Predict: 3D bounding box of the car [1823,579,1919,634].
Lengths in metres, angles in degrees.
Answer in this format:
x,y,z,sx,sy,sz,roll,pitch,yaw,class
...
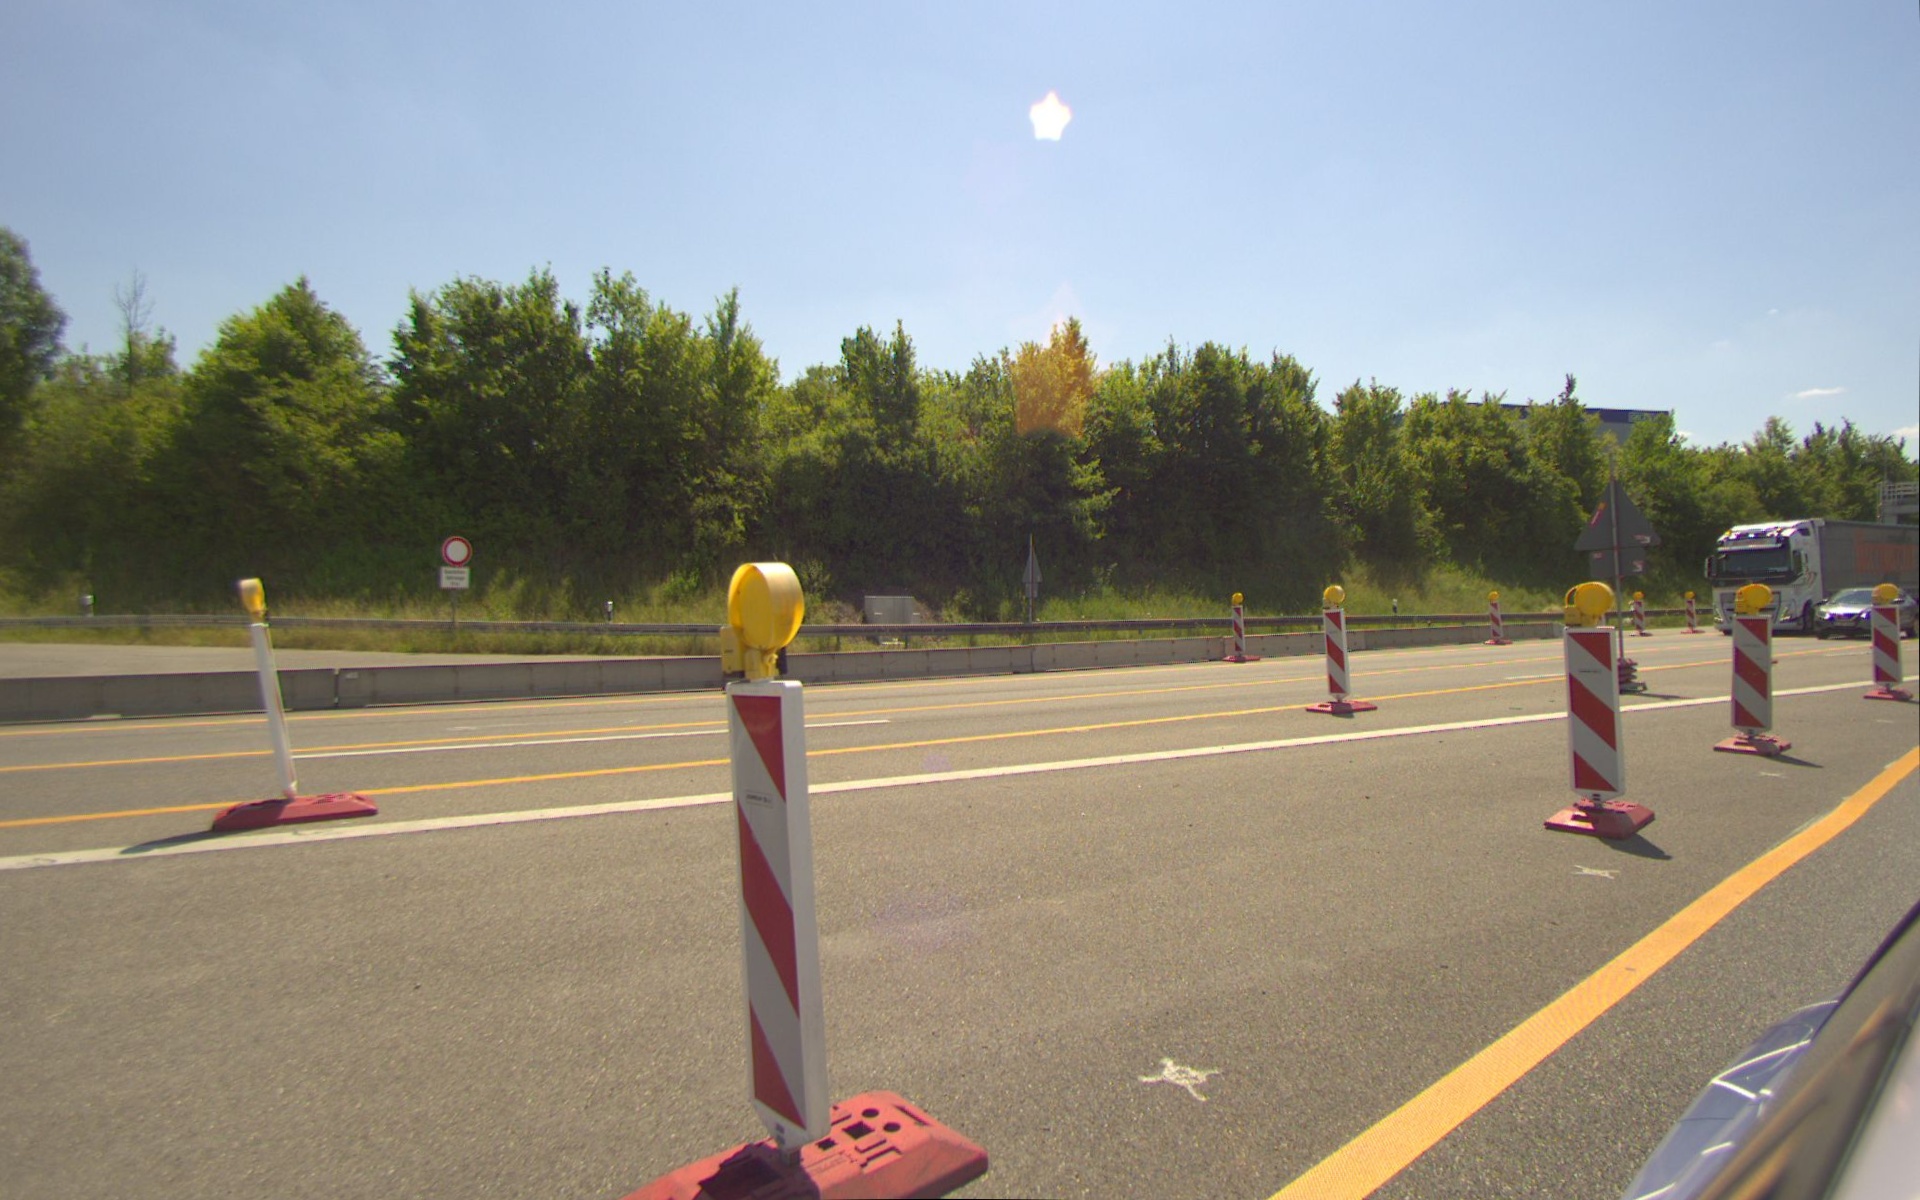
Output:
x,y,z,sx,sy,sz,roll,pitch,yaw,class
28.635,0.159,31.522,3.955,1.572,1.711,-1,0,-35,car

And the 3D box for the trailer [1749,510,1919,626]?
x,y,z,sx,sy,sz,roll,pitch,yaw,class
35.305,-1.172,39.483,13.596,4.003,2.550,-1,-1,-32,trailer

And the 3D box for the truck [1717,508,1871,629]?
x,y,z,sx,sy,sz,roll,pitch,yaw,class
29.697,-1.071,36.015,5.489,4.001,2.537,-1,-1,-32,truck
